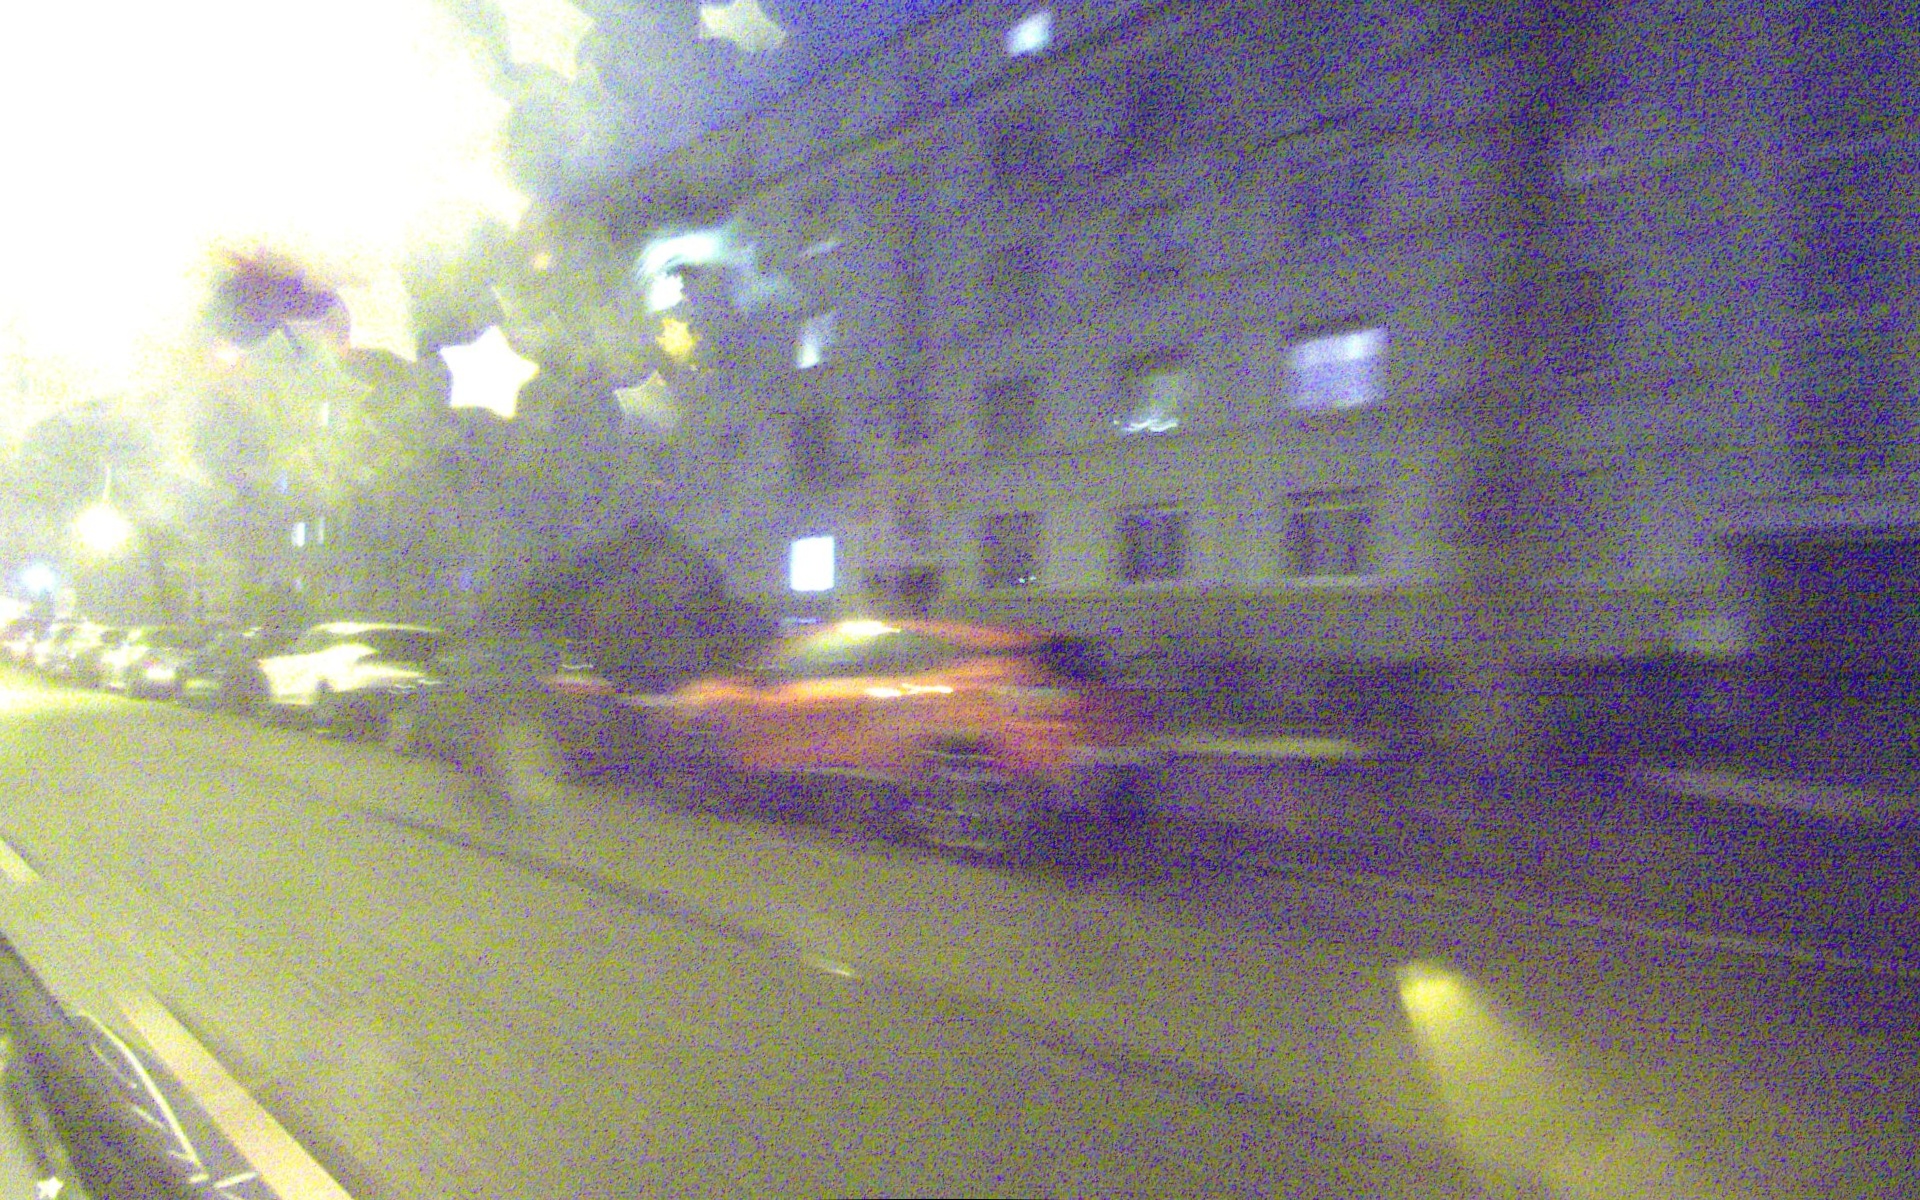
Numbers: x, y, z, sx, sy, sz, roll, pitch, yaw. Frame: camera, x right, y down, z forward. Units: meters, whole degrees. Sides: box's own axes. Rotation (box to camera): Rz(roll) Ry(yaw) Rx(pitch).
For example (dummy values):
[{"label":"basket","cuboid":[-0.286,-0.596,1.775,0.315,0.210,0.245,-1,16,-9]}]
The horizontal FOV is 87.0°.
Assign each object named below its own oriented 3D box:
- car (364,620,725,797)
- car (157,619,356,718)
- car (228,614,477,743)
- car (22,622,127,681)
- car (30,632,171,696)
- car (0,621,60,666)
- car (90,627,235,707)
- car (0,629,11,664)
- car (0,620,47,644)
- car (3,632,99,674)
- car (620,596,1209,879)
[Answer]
[{"label":"car","cuboid":[-4.626,1.061,10.969,4.386,1.551,1.649,-1,-6,39]},{"label":"car","cuboid":[-12.453,1.153,17.825,4.385,1.551,1.649,-1,-4,39]},{"label":"car","cuboid":[-8.683,1.060,14.306,4.388,1.551,1.648,-2,-6,41]},{"label":"car","cuboid":[-25.373,1.463,28.963,4.058,1.551,1.688,-2,-5,42]},{"label":"car","cuboid":[-21.239,1.545,24.955,4.667,1.429,1.604,-1,-4,37]},{"label":"car","cuboid":[-33.543,1.532,35.937,4.393,1.484,1.776,-2,-4,41]},{"label":"car","cuboid":[-17.123,1.385,21.646,4.389,1.551,1.648,-2,-4,42]},{"label":"car","cuboid":[-42.104,1.966,43.440,3.962,1.484,1.606,-2,-4,42]},{"label":"car","cuboid":[-71.204,2.374,75.363,4.473,1.719,1.855,3,-4,-35]},{"label":"car","cuboid":[-29.311,1.684,32.588,4.637,1.278,1.818,-2,-4,43]},{"label":"car","cuboid":[-0.505,0.881,7.803,4.382,1.610,1.731,-1,-5,36]}]
